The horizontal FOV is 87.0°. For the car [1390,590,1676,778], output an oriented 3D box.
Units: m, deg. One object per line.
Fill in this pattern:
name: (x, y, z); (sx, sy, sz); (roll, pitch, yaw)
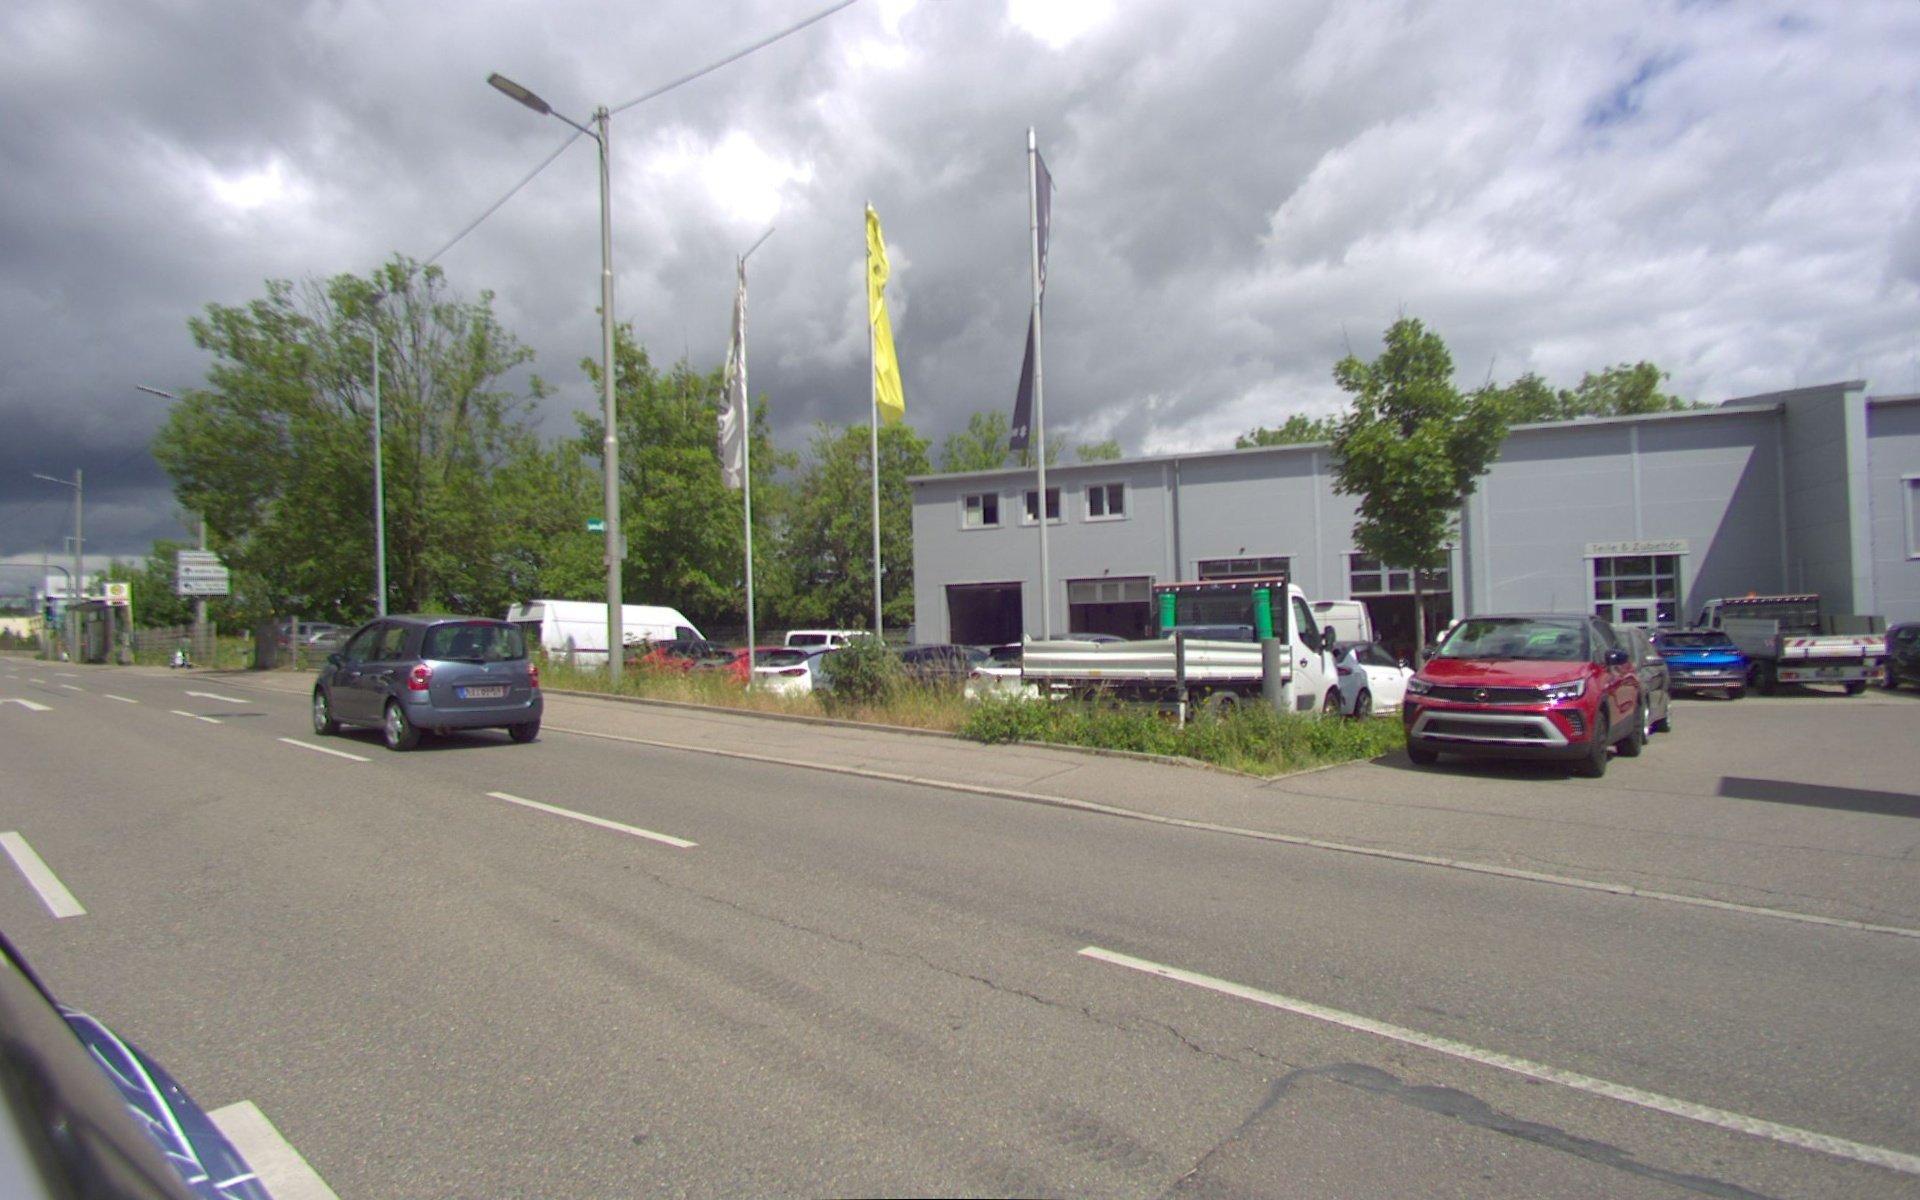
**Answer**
car: (6.157, 0.853, 10.675); (1.753, 1.601, 3.943); (-3, -5, 42)

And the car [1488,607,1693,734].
car: (9.057, 0.985, 14.392); (1.825, 1.534, 4.036); (-4, -5, 41)

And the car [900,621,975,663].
car: (-0.956, 1.846, 45.093); (1.830, 1.742, 4.142); (-2, -2, 23)

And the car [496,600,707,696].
car: (-8.355, 1.076, 23.816); (2.197, 2.029, 4.119); (-4, -2, 39)

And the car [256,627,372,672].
car: (-30.850, 2.330, 48.430); (2.136, 2.029, 4.239); (-2, -2, 35)

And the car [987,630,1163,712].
car: (2.410, 1.368, 20.659); (1.835, 1.420, 3.642); (-1, 0, 41)

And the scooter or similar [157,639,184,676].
scooter or similar: (-28.187, 2.041, 36.146); (0.527, 1.272, 1.476); (-2, -1, -31)

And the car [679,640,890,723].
car: (-3.590, 1.617, 21.150); (3.986, 1.397, 1.930); (0, 0, -45)

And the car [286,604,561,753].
car: (-6.944, 0.938, 12.941); (4.040, 1.608, 1.725); (-2, -4, 41)

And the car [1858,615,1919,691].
car: (21.556, 1.137, 21.679); (1.913, 1.594, 4.216); (-1, 0, 18)

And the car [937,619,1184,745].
car: (1.651, 1.130, 15.631); (1.928, 1.621, 3.844); (-1, 0, 41)

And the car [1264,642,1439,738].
car: (6.893, 1.476, 17.626); (1.645, 1.338, 3.782); (-1, 0, 41)

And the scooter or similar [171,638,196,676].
scooter or similar: (-27.022, 1.973, 35.204); (0.528, 1.275, 1.473); (-2, -1, -43)

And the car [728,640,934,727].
car: (-2.338, 1.472, 18.836); (3.505, 1.335, 1.712); (0, 0, -45)

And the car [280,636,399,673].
car: (-28.237, 2.452, 46.152); (1.905, 1.498, 4.241); (-2, -2, 34)

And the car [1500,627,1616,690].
car: (15.992, 1.525, 27.285); (1.914, 1.420, 4.212); (-3, -1, 21)

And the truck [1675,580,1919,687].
truck: (20.011, 0.746, 24.695); (2.683, 2.246, 6.268); (0, -1, 21)

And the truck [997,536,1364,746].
truck: (3.209, 0.474, 13.472); (2.474, 2.164, 5.804); (0, -1, 39)

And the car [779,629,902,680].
car: (-4.501, 1.988, 37.463); (4.917, 1.742, 1.816); (-3, -2, 44)

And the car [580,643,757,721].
car: (-6.311, 1.713, 22.076); (3.298, 1.420, 1.728); (0, 0, -45)

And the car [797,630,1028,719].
car: (-0.723, 1.178, 17.253); (1.928, 1.220, 3.677); (-1, 0, 41)

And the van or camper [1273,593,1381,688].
van or camper: (10.514, 1.105, 28.662); (2.487, 2.373, 5.855); (-2, -2, 23)

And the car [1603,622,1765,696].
car: (16.871, 1.310, 23.847); (1.913, 1.508, 4.215); (-1, 0, 19)
